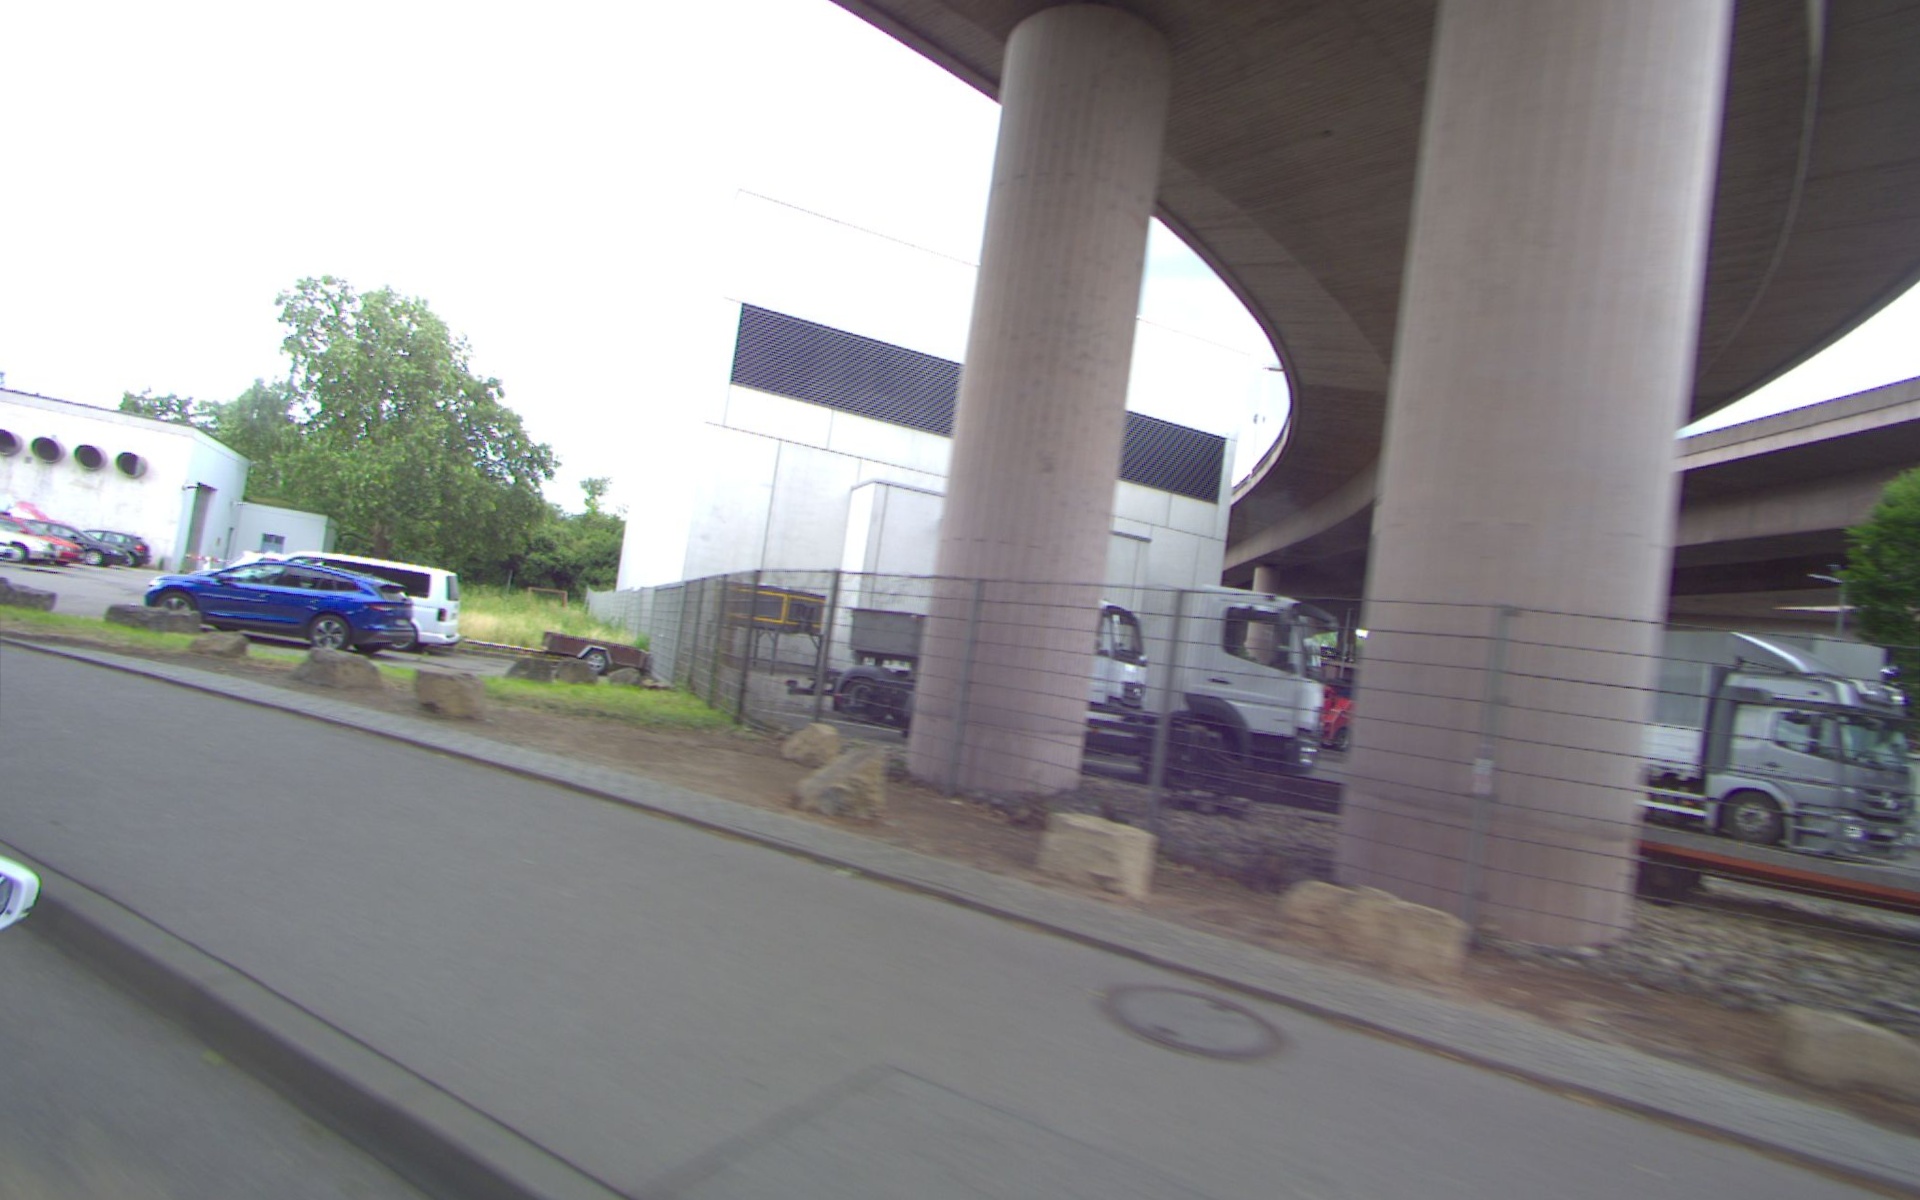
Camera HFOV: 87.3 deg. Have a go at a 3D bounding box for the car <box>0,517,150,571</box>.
[{"bbox_3d":[-37.898,-2.344,43.147,4.387,1.440,1.830,10,-3,-23],"label":"car"}]

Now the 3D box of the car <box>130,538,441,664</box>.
[{"bbox_3d":[-13.125,0.061,19.842,4.606,1.652,1.775,9,-2,-7],"label":"car"}]

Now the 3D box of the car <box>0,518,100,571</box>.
[{"bbox_3d":[-33.844,-2.150,35.822,4.387,1.440,1.830,10,-3,-23],"label":"car"}]

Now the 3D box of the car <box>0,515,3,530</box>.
[{"bbox_3d":[-29.367,-2.049,27.251,4.446,1.529,1.830,10,-3,-23],"label":"car"}]

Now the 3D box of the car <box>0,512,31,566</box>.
[{"bbox_3d":[-30.673,-2.179,29.545,4.446,1.529,1.830,10,-3,-23],"label":"car"}]

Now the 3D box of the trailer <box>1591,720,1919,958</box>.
[{"bbox_3d":[7.319,1.886,7.336,4.322,1.346,1.599,5,-3,41],"label":"trailer"}]

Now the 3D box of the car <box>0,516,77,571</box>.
[{"bbox_3d":[-32.721,-2.140,33.531,4.446,1.529,1.830,10,-3,-23],"label":"car"}]

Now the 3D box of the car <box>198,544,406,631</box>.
[{"bbox_3d":[-17.712,-0.302,27.355,4.308,1.605,1.766,10,-3,-24],"label":"car"}]

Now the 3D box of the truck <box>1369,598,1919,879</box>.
[{"bbox_3d":[14.471,2.511,21.918,3.866,4.412,10.087,10,-3,-23],"label":"truck"}]

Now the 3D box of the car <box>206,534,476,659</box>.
[{"bbox_3d":[-13.729,-0.029,22.663,4.613,1.978,1.888,9,-2,-17],"label":"car"}]

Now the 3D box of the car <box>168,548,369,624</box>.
[{"bbox_3d":[-19.645,-0.369,28.816,4.306,1.399,1.767,10,-3,-23],"label":"car"}]

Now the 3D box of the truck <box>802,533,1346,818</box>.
[{"bbox_3d":[1.597,0.954,14.575,7.101,2.774,2.428,8,-3,20],"label":"truck"}]

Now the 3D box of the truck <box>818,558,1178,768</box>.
[{"bbox_3d":[0.688,1.120,19.002,6.010,2.918,2.460,7,-3,26],"label":"truck"}]

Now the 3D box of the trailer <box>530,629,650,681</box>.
[{"bbox_3d":[-9.117,1.342,24.784,2.531,0.909,1.474,9,-3,-27],"label":"trailer"}]

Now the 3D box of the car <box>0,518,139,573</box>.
[{"bbox_3d":[-35.851,-2.168,40.091,4.387,1.440,1.830,10,-3,-23],"label":"car"}]

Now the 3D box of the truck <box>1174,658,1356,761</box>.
[{"bbox_3d":[11.708,4.146,39.400,3.010,2.963,6.904,10,-3,-19],"label":"truck"}]
